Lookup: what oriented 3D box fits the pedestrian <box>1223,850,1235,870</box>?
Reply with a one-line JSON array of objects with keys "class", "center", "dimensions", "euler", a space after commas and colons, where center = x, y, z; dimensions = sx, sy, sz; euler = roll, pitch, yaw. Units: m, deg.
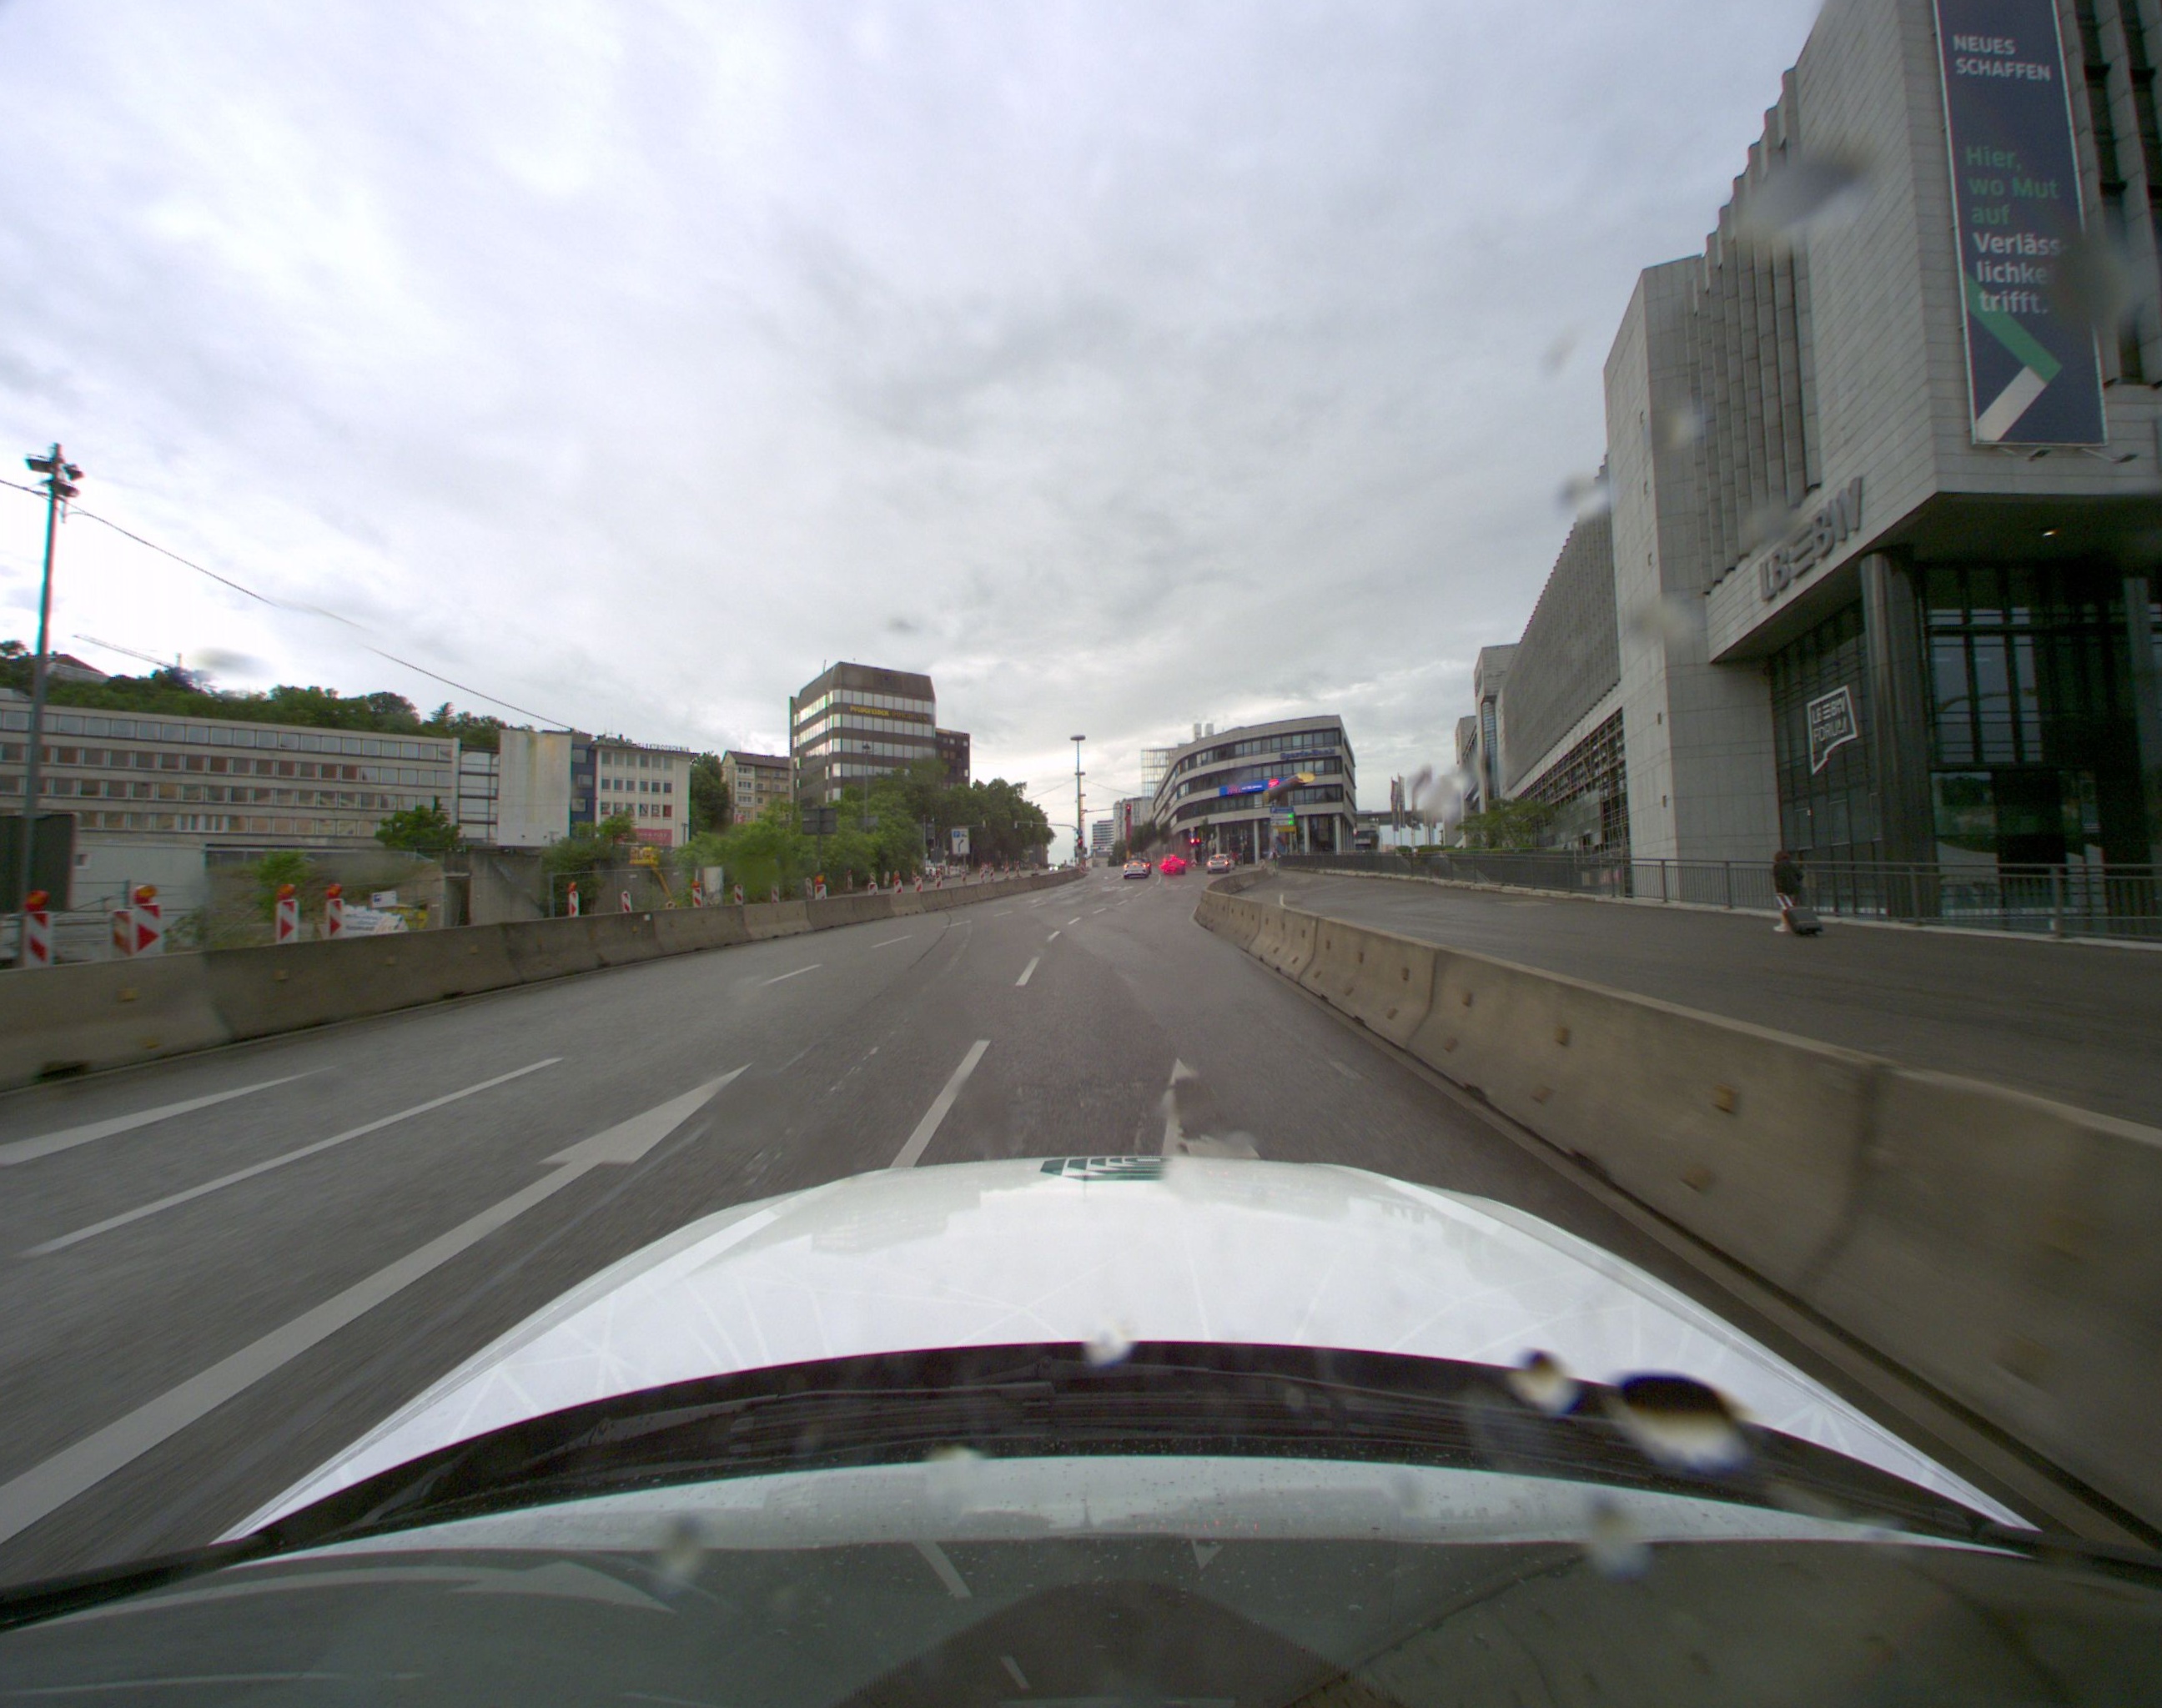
[{"class": "pedestrian", "center": [15.582, 0.634, 85.774], "dimensions": [0.855, 2.099, 0.898], "euler": [1, -1, -22]}]

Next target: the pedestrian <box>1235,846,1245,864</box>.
[{"class": "pedestrian", "center": [17.364, 0.067, 89.065], "dimensions": [0.832, 1.905, 0.866], "euler": [-3, -3, 27]}]

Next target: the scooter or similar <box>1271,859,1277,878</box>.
[{"class": "scooter or similar", "center": [12.011, 0.912, 50.698], "dimensions": [0.346, 1.162, 0.575], "euler": [-2, -2, 16]}]

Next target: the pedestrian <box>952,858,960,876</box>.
[{"class": "pedestrian", "center": [-13.971, 1.432, 91.161], "dimensions": [0.757, 1.923, 0.743], "euler": [-1, -3, 4]}]

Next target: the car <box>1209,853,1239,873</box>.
[{"class": "car", "center": [12.939, 0.793, 73.390], "dimensions": [1.756, 1.634, 4.605], "euler": [-2, 0, 21]}]

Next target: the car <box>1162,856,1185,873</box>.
[{"class": "car", "center": [7.694, 0.897, 68.074], "dimensions": [1.746, 1.407, 4.232], "euler": [0, -1, 5]}]

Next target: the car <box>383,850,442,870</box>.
[{"class": "car", "center": [-61.887, 0.580, 75.486], "dimensions": [4.017, 1.706, 1.978], "euler": [1, -3, -36]}]

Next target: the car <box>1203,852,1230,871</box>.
[{"class": "car", "center": [11.000, 0.637, 66.545], "dimensions": [1.693, 1.451, 4.620], "euler": [-1, -1, 4]}]

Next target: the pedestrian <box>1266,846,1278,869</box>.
[{"class": "pedestrian", "center": [14.485, 0.258, 61.731], "dimensions": [0.727, 1.711, 0.843], "euler": [-1, -3, 1]}]

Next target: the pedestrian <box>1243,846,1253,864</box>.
[{"class": "pedestrian", "center": [18.482, 0.110, 90.340], "dimensions": [0.832, 1.905, 0.736], "euler": [-3, -2, 27]}]

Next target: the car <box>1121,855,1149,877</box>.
[{"class": "car", "center": [4.196, 0.902, 62.546], "dimensions": [1.954, 1.548, 4.226], "euler": [-2, 0, 6]}]

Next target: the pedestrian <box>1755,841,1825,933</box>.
[{"class": "pedestrian", "center": [13.263, 0.607, 15.267], "dimensions": [0.722, 1.652, 1.067], "euler": [-2, -2, 29]}]

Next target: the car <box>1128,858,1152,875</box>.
[{"class": "car", "center": [5.151, 1.089, 71.189], "dimensions": [1.735, 1.443, 3.998], "euler": [-1, 0, -1]}]

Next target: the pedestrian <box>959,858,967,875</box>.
[{"class": "pedestrian", "center": [-13.216, 1.425, 91.119], "dimensions": [0.669, 1.902, 0.776], "euler": [-1, -3, 4]}]
